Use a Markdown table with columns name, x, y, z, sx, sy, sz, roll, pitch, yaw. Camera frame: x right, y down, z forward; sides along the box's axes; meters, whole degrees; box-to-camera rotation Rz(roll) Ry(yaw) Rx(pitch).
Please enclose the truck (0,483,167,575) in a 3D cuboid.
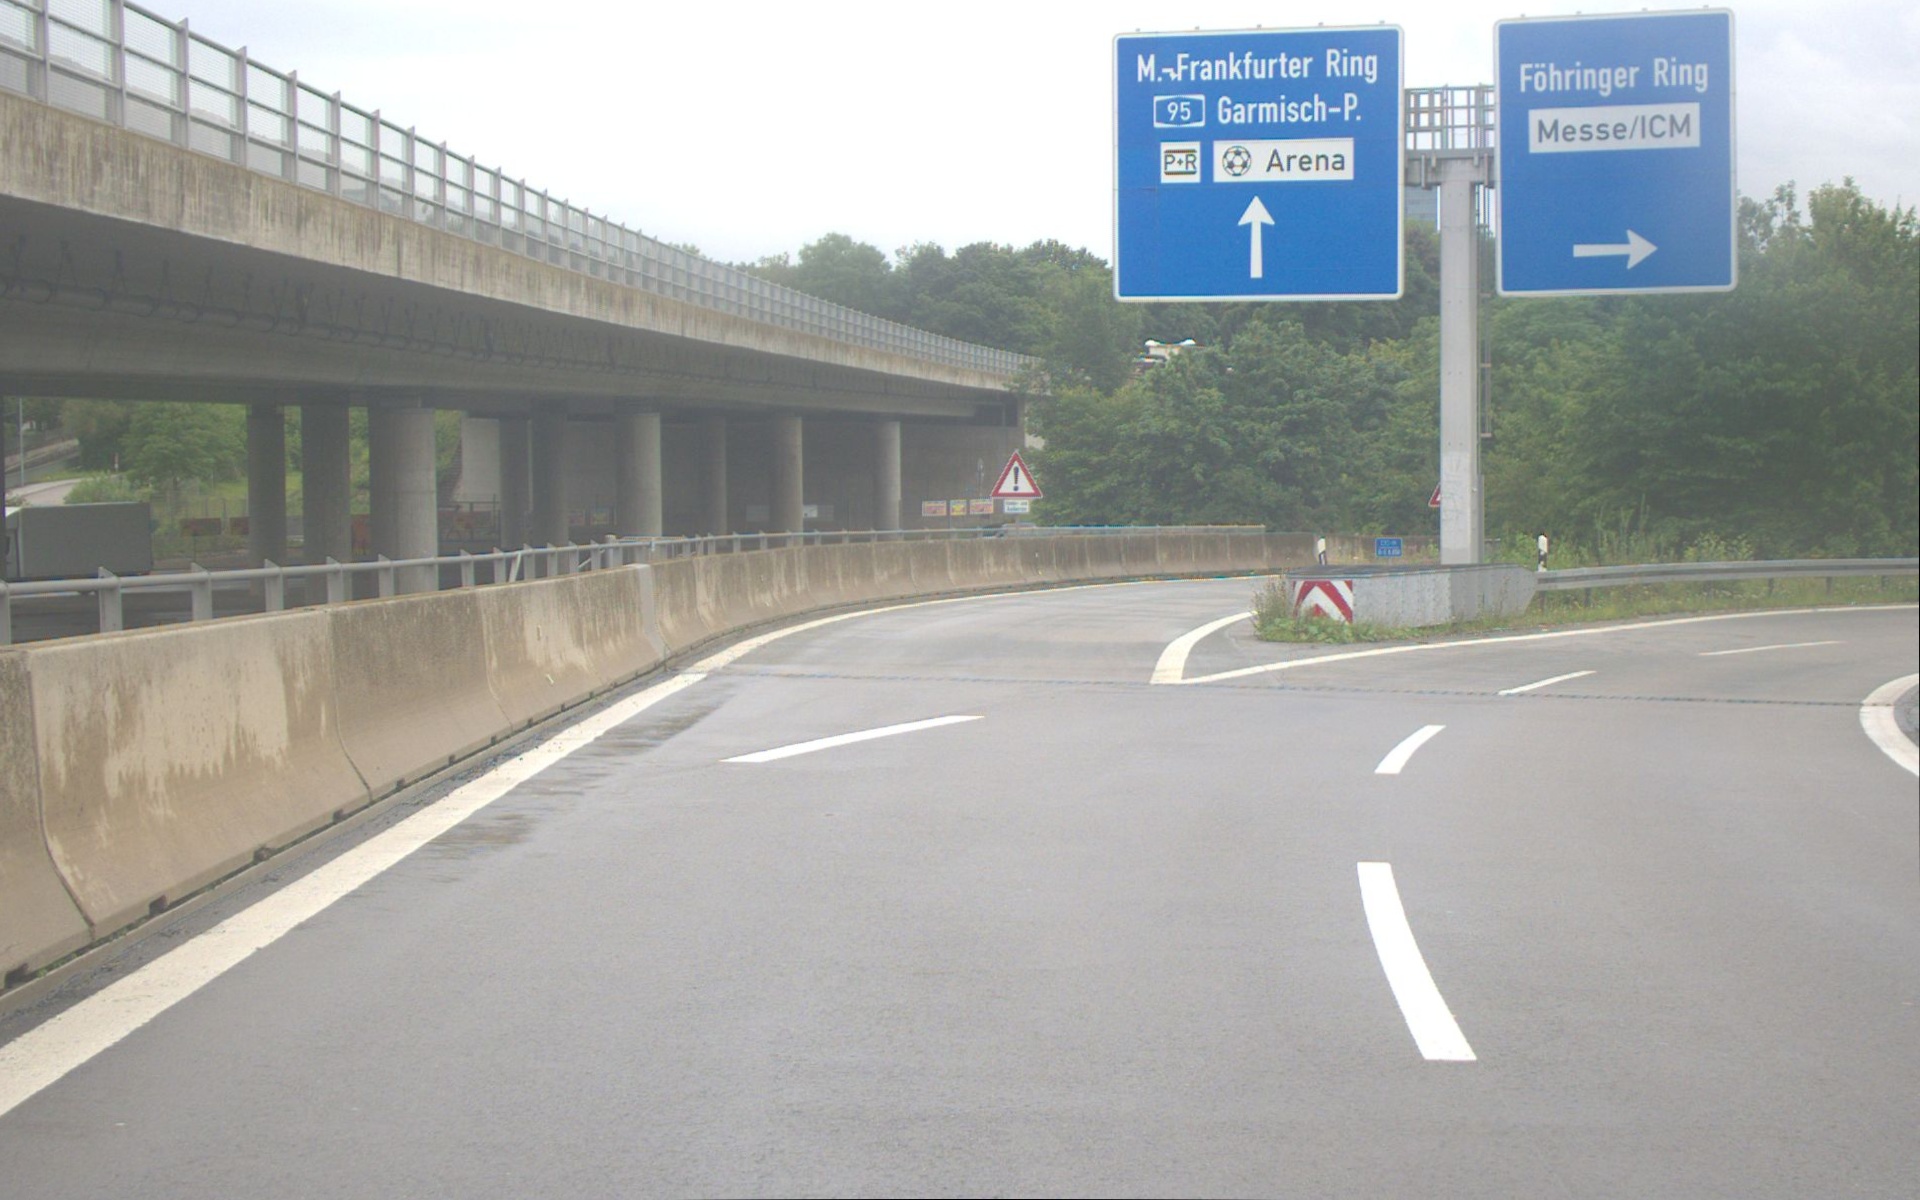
| name | x | y | z | sx | sy | sz | roll | pitch | yaw |
| --- | --- | --- | --- | --- | --- | --- | --- | --- | --- |
| truck | -29.922 | -2.321 | 112.853 | 7.209 | 2.967 | 2.260 | 0 | 1 | -32 |
